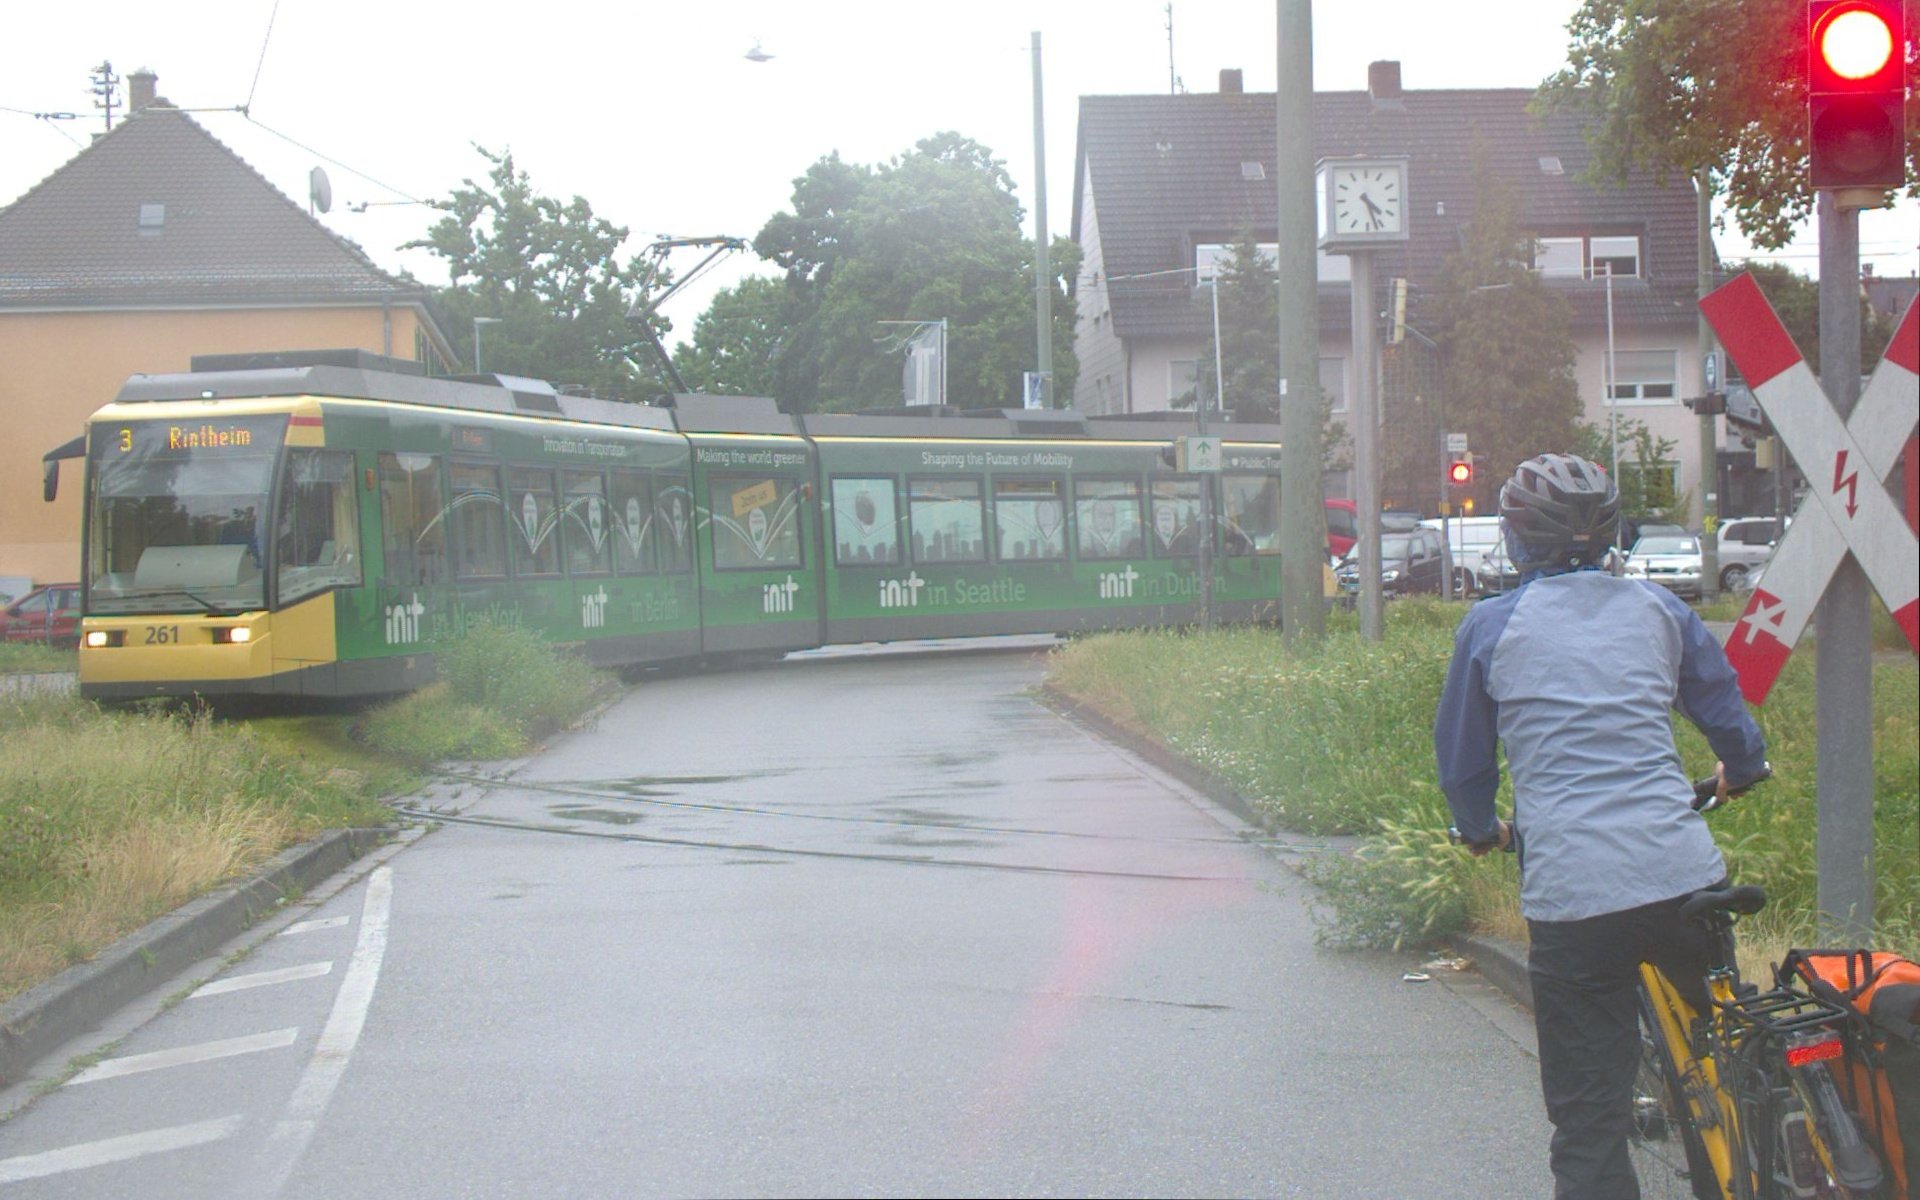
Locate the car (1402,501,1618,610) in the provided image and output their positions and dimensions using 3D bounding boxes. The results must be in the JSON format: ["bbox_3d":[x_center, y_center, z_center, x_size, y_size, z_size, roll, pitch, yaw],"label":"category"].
[{"bbox_3d":[12.168,-0.988,76.236,4.395,2.317,2.000,1,0,-2],"label":"car"}]

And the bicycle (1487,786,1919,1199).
[{"bbox_3d":[1.311,0.898,6.048,0.446,1.001,1.728,-1,1,-2],"label":"bicycle"}]

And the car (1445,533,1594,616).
[{"bbox_3d":[11.520,-0.520,70.578,1.996,1.634,3.995,1,0,25],"label":"car"}]

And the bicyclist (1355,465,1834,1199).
[{"bbox_3d":[1.113,0.584,6.201,0.667,1.620,0.853,1,0,-2],"label":"bicyclist"}]

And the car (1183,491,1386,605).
[{"bbox_3d":[7.547,-1.202,79.801,4.398,2.557,1.999,1,0,14],"label":"car"}]

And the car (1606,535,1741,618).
[{"bbox_3d":[14.749,-0.478,70.968,1.843,1.634,3.995,1,0,25],"label":"car"}]

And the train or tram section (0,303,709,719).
[{"bbox_3d":[-5.793,-0.844,35.927,2.762,3.541,12.197,-2,0,13],"label":"train or tram section"}]

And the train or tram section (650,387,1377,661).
[{"bbox_3d":[1.214,-1.136,50.486,2.767,3.541,13.101,-1,1,41],"label":"train or tram section"}]

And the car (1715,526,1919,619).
[{"bbox_3d":[16.353,-0.520,65.107,3.684,1.695,1.890,1,0,0],"label":"car"}]

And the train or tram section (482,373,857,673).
[{"bbox_3d":[-3.616,-0.952,43.956,2.763,3.541,4.983,-2,0,22],"label":"train or tram section"}]

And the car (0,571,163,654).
[{"bbox_3d":[-16.667,0.218,62.598,3.986,1.451,1.834,1,0,-6],"label":"car"}]

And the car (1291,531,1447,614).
[{"bbox_3d":[8.402,-0.561,70.358,1.996,1.634,3.995,1,0,25],"label":"car"}]

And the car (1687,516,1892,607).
[{"bbox_3d":[18.372,-0.845,76.274,3.986,1.944,2.000,1,0,-2],"label":"car"}]
